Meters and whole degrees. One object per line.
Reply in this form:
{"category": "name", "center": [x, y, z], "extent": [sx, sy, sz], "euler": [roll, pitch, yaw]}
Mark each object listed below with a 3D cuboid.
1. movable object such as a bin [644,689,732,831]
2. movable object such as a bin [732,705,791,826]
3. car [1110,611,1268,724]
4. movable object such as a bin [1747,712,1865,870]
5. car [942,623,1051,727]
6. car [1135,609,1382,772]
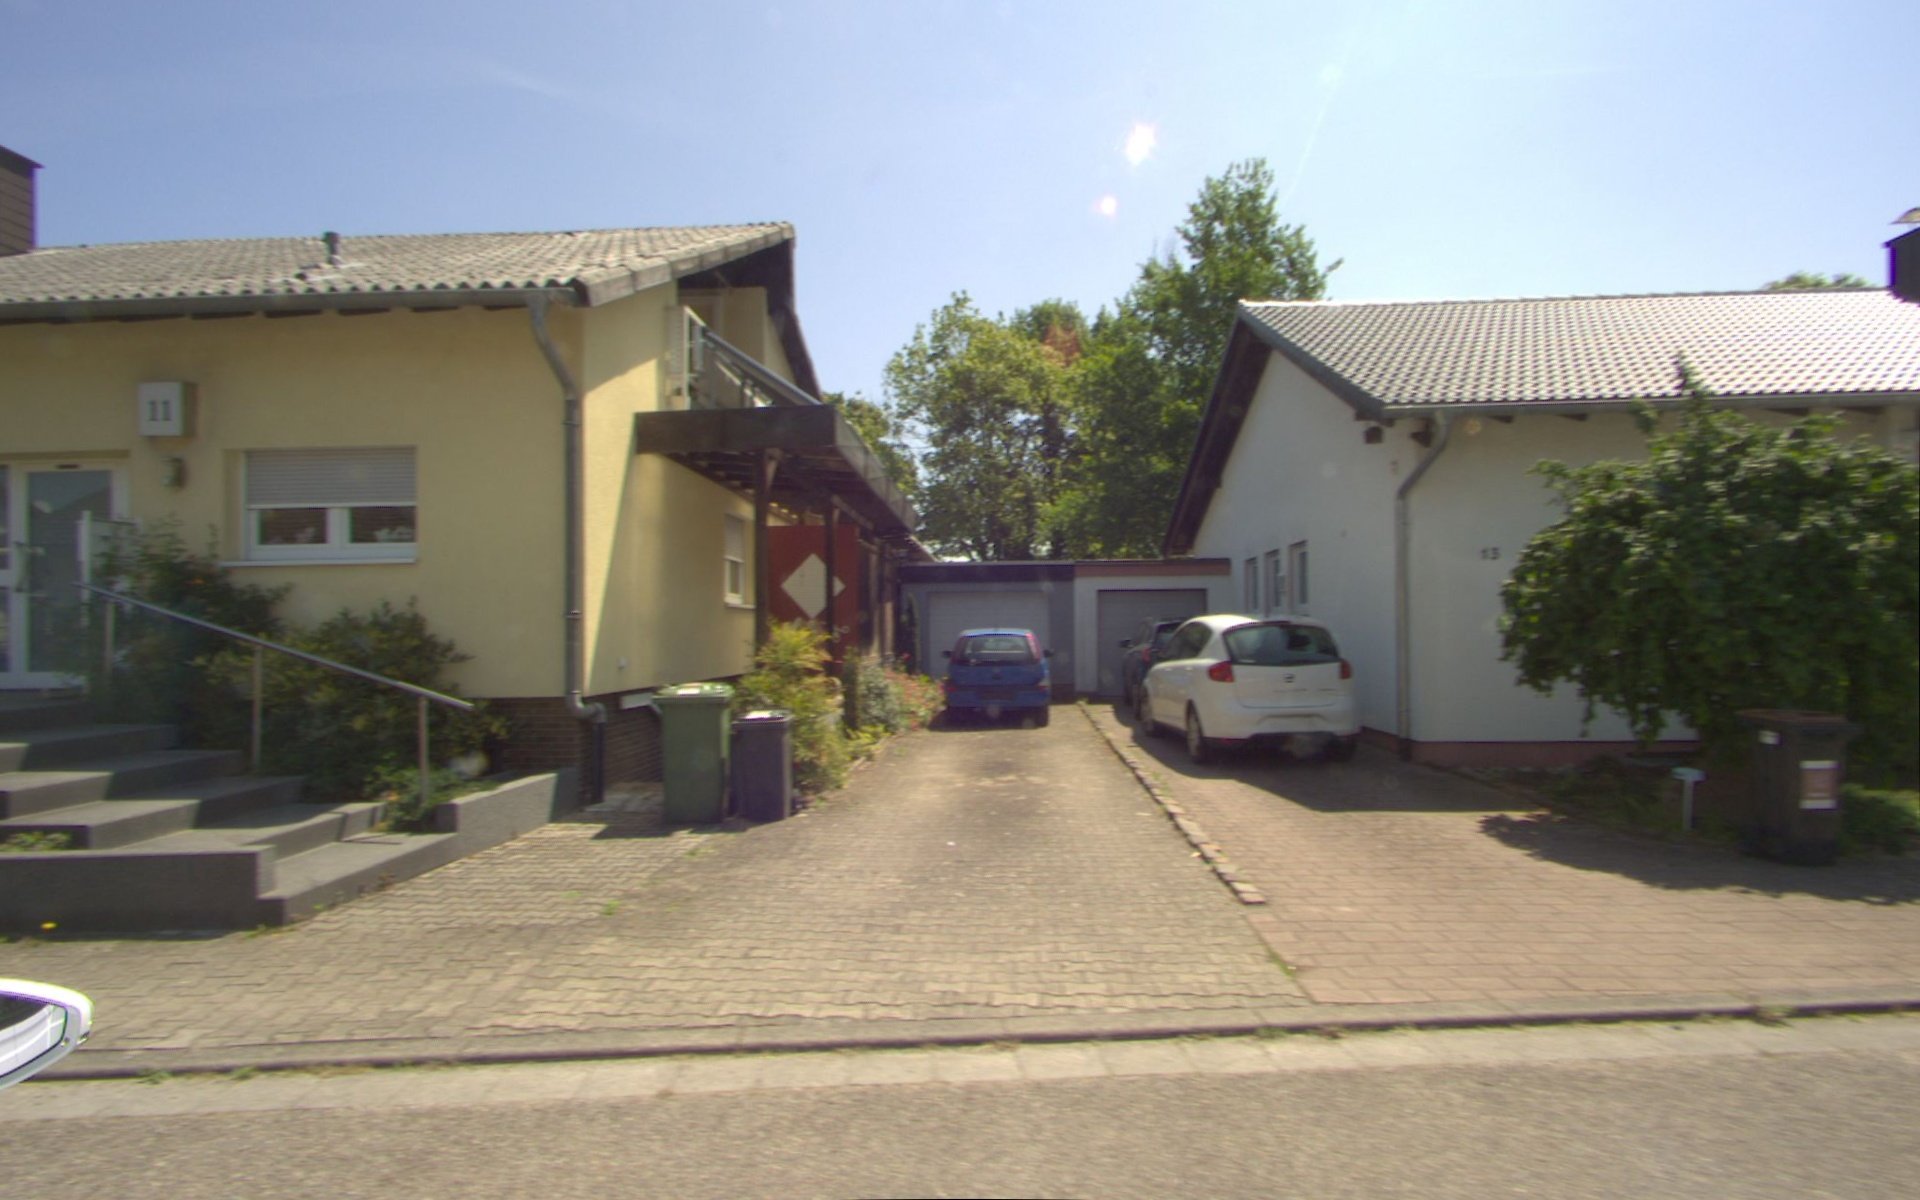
{"category": "movable object such as a bin", "center": [-2.166, 1.258, 8.004], "extent": [0.581, 1.054, 0.492], "euler": [-1, -1, -5]}
{"category": "movable object such as a bin", "center": [-1.576, 1.306, 7.987], "extent": [0.400, 0.903, 0.426], "euler": [-1, -1, -5]}
{"category": "car", "center": [3.649, 1.036, 16.668], "extent": [1.891, 1.628, 4.001], "euler": [-1, -1, 3]}
{"category": "movable object such as a bin", "center": [5.166, 1.154, 6.127], "extent": [0.368, 0.903, 0.391], "euler": [-1, -1, 2]}
{"category": "car", "center": [0.607, 1.140, 16.298], "extent": [1.588, 1.474, 3.254], "euler": [0, 0, 3]}
{"category": "car", "center": [3.305, 0.951, 11.906], "extent": [1.718, 1.588, 4.001], "euler": [0, -1, 0]}
